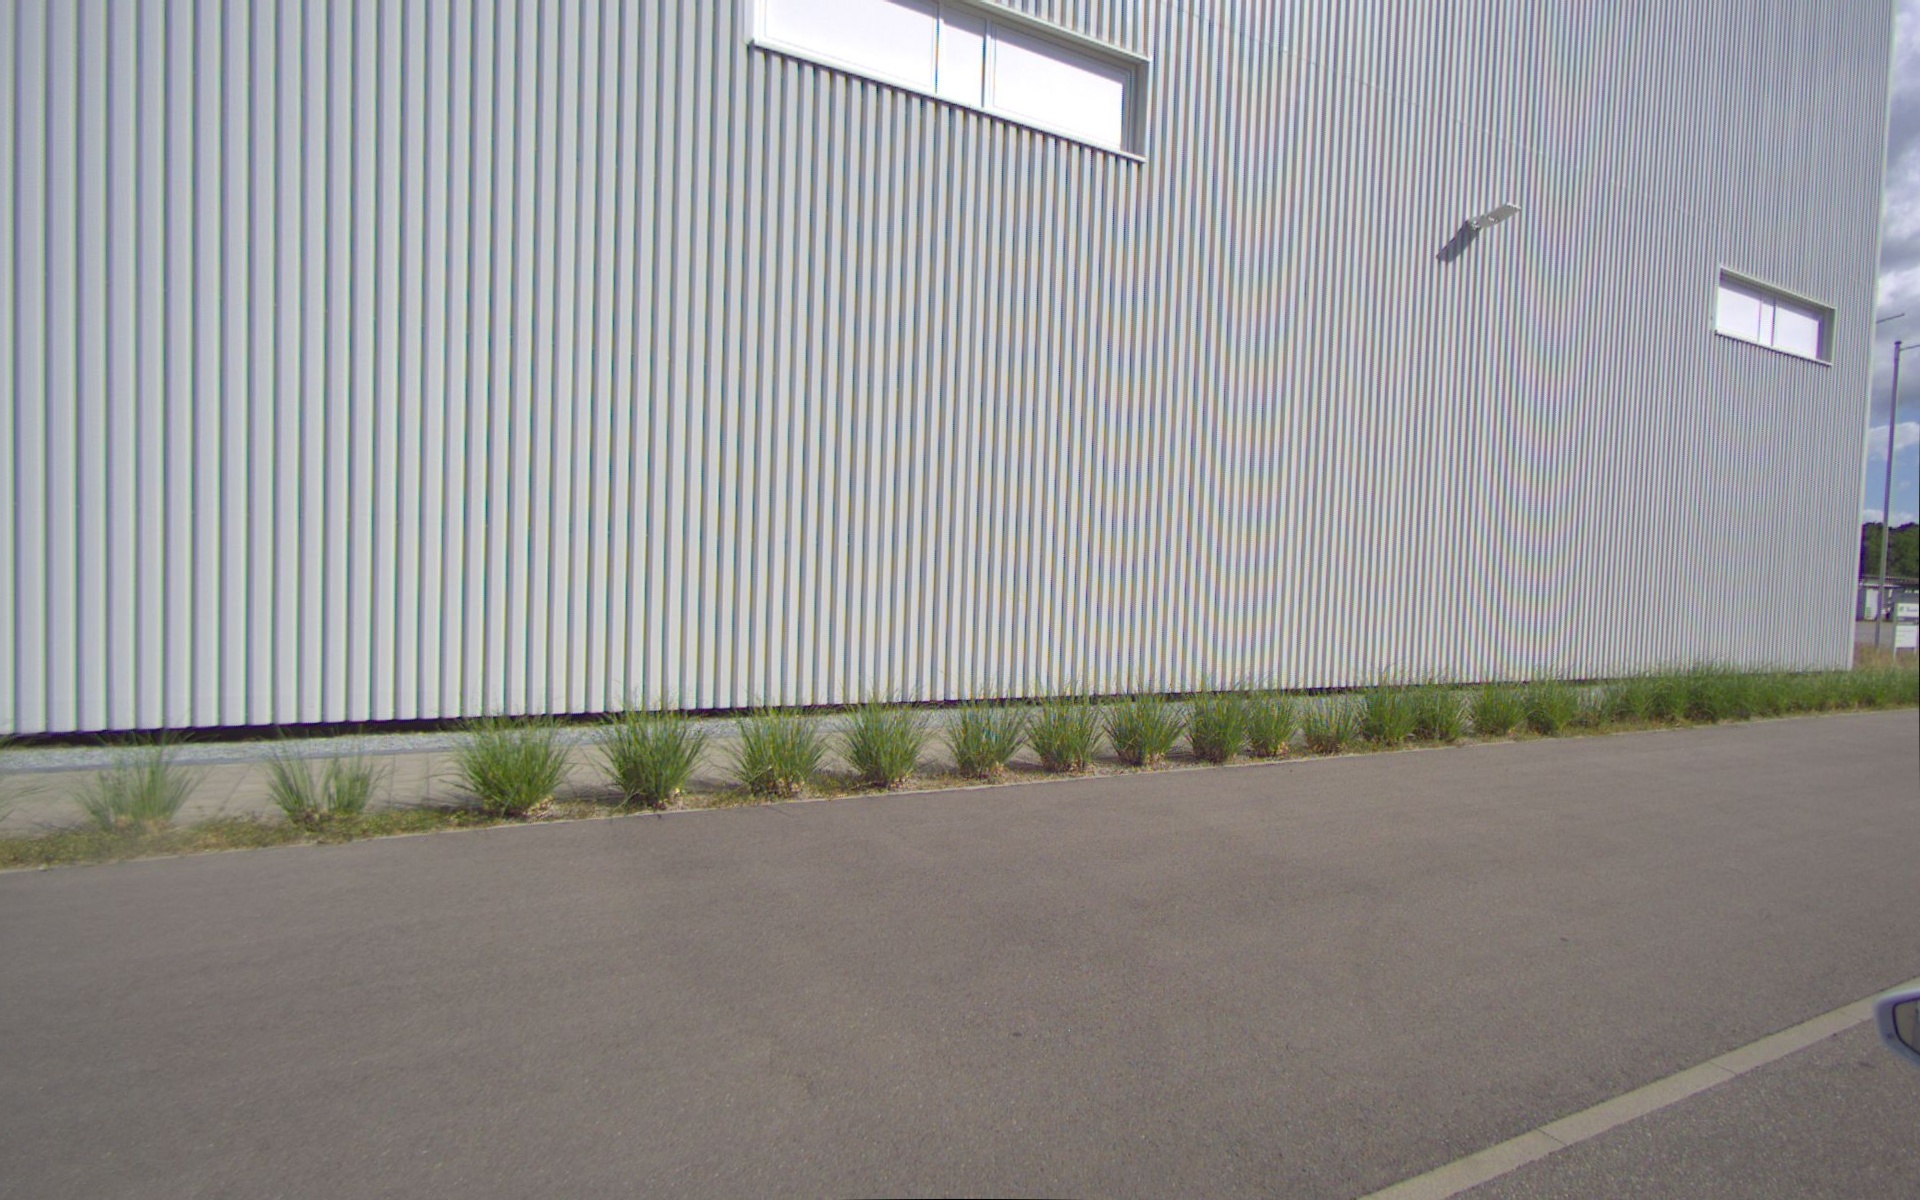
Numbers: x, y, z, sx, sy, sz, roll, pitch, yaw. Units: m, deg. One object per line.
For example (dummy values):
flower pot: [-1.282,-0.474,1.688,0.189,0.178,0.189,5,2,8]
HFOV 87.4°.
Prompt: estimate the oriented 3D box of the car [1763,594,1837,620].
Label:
car: [67.336,0.542,80.555,1.763,1.688,4.141,1,3,-30]

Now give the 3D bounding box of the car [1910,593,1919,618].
car: [97.990,0.682,99.419,2.021,2.475,5.242,1,2,-24]
